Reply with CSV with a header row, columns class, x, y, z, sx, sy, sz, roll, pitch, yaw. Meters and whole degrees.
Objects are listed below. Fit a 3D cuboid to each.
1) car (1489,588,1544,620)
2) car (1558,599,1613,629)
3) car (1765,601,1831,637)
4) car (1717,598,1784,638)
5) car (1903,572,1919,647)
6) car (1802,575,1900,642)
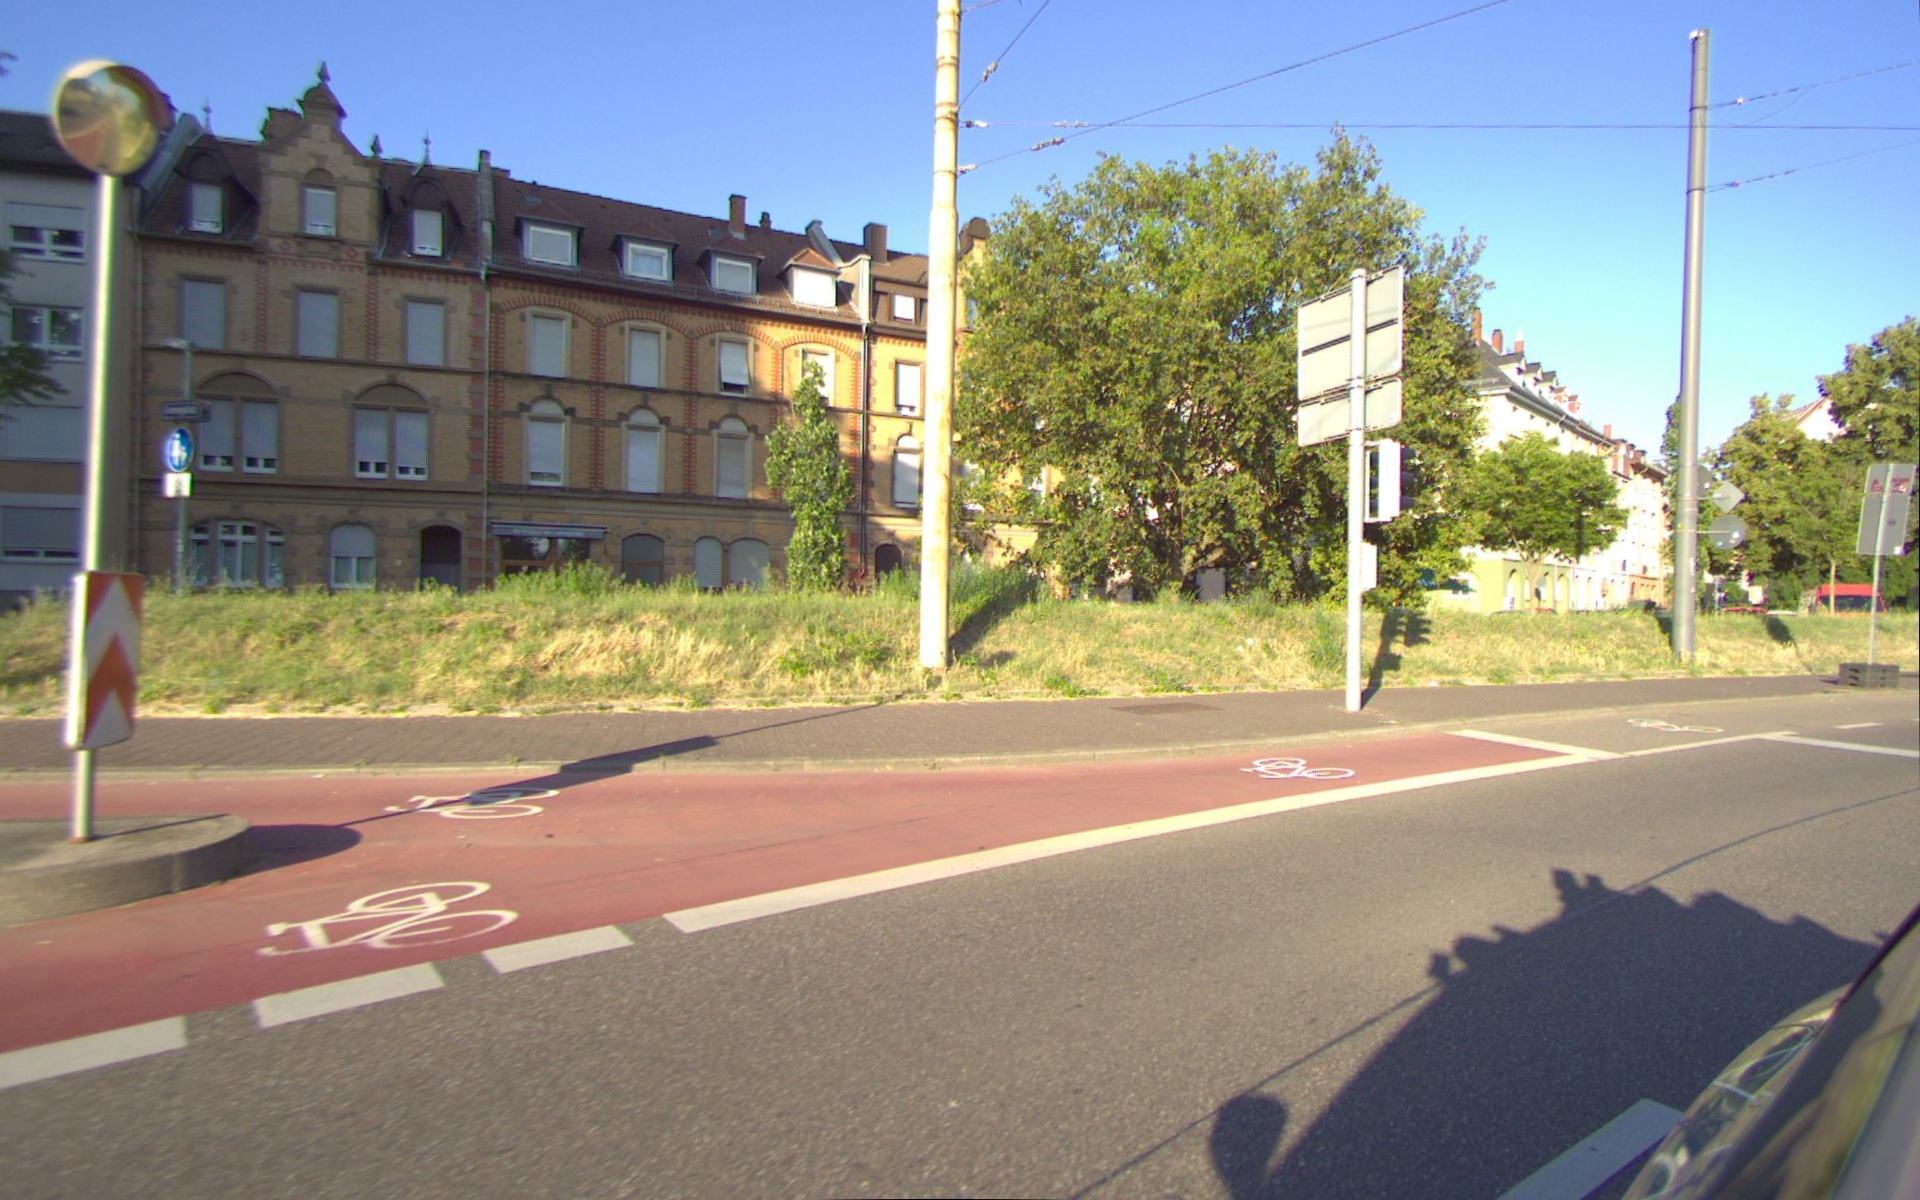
class,x,y,z,sx,sy,sz,roll,pitch,yaw
car,23.944,0.150,43.462,1.695,1.274,3.661,2,2,35
car,25.494,0.526,41.208,1.695,1.103,3.660,1,1,35
car,38.895,0.841,47.044,1.913,1.559,3.861,1,0,33
car,30.084,0.635,38.620,1.768,1.391,3.841,1,1,35
car,35.594,0.359,36.041,2.030,2.699,6.137,1,1,35
car,32.398,0.264,36.953,2.030,2.241,5.347,1,1,35
